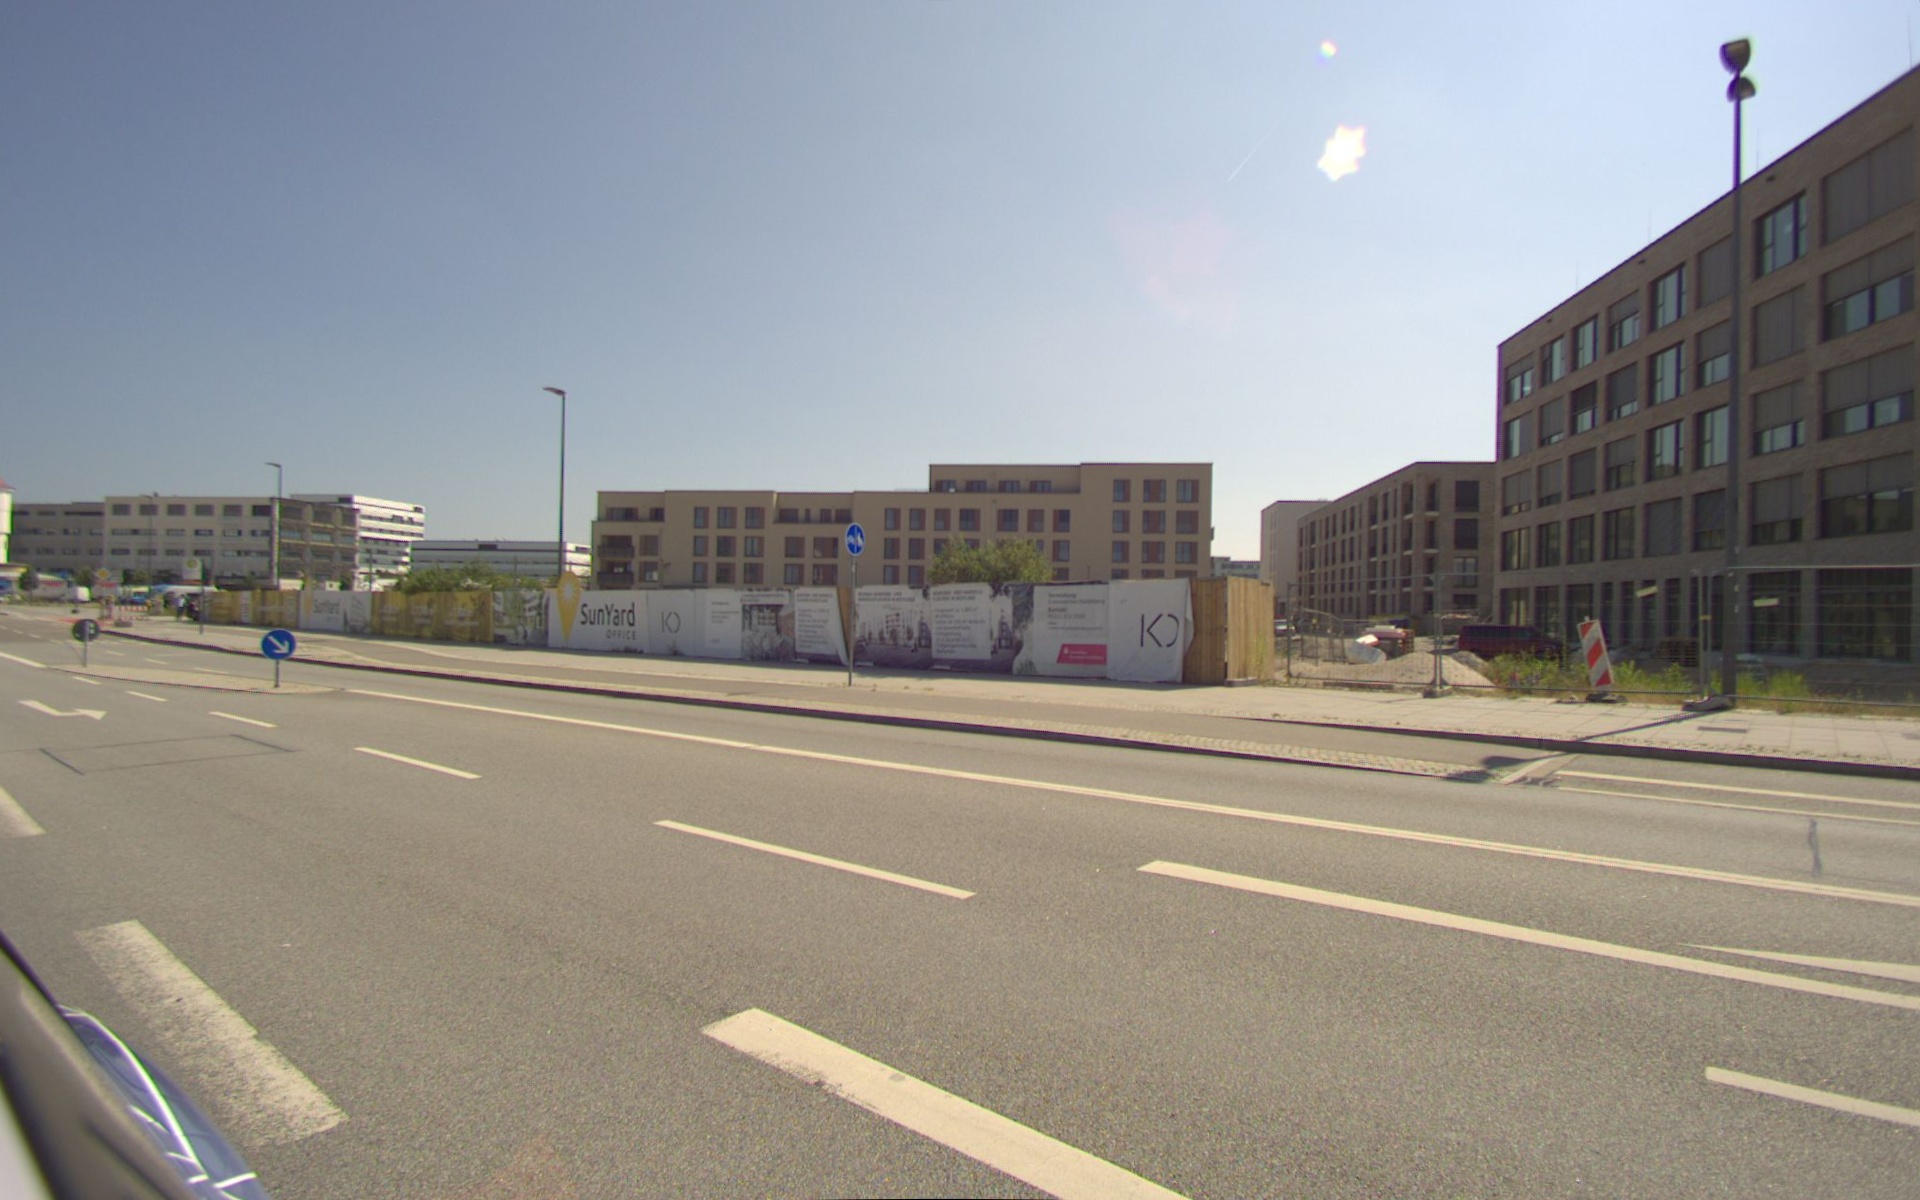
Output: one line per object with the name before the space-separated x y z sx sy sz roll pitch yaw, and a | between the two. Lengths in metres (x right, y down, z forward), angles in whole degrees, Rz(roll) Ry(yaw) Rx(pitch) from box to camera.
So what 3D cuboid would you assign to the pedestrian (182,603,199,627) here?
pedestrian | -53.105 1.043 69.839 0.610 1.598 0.703 -1 0 5
